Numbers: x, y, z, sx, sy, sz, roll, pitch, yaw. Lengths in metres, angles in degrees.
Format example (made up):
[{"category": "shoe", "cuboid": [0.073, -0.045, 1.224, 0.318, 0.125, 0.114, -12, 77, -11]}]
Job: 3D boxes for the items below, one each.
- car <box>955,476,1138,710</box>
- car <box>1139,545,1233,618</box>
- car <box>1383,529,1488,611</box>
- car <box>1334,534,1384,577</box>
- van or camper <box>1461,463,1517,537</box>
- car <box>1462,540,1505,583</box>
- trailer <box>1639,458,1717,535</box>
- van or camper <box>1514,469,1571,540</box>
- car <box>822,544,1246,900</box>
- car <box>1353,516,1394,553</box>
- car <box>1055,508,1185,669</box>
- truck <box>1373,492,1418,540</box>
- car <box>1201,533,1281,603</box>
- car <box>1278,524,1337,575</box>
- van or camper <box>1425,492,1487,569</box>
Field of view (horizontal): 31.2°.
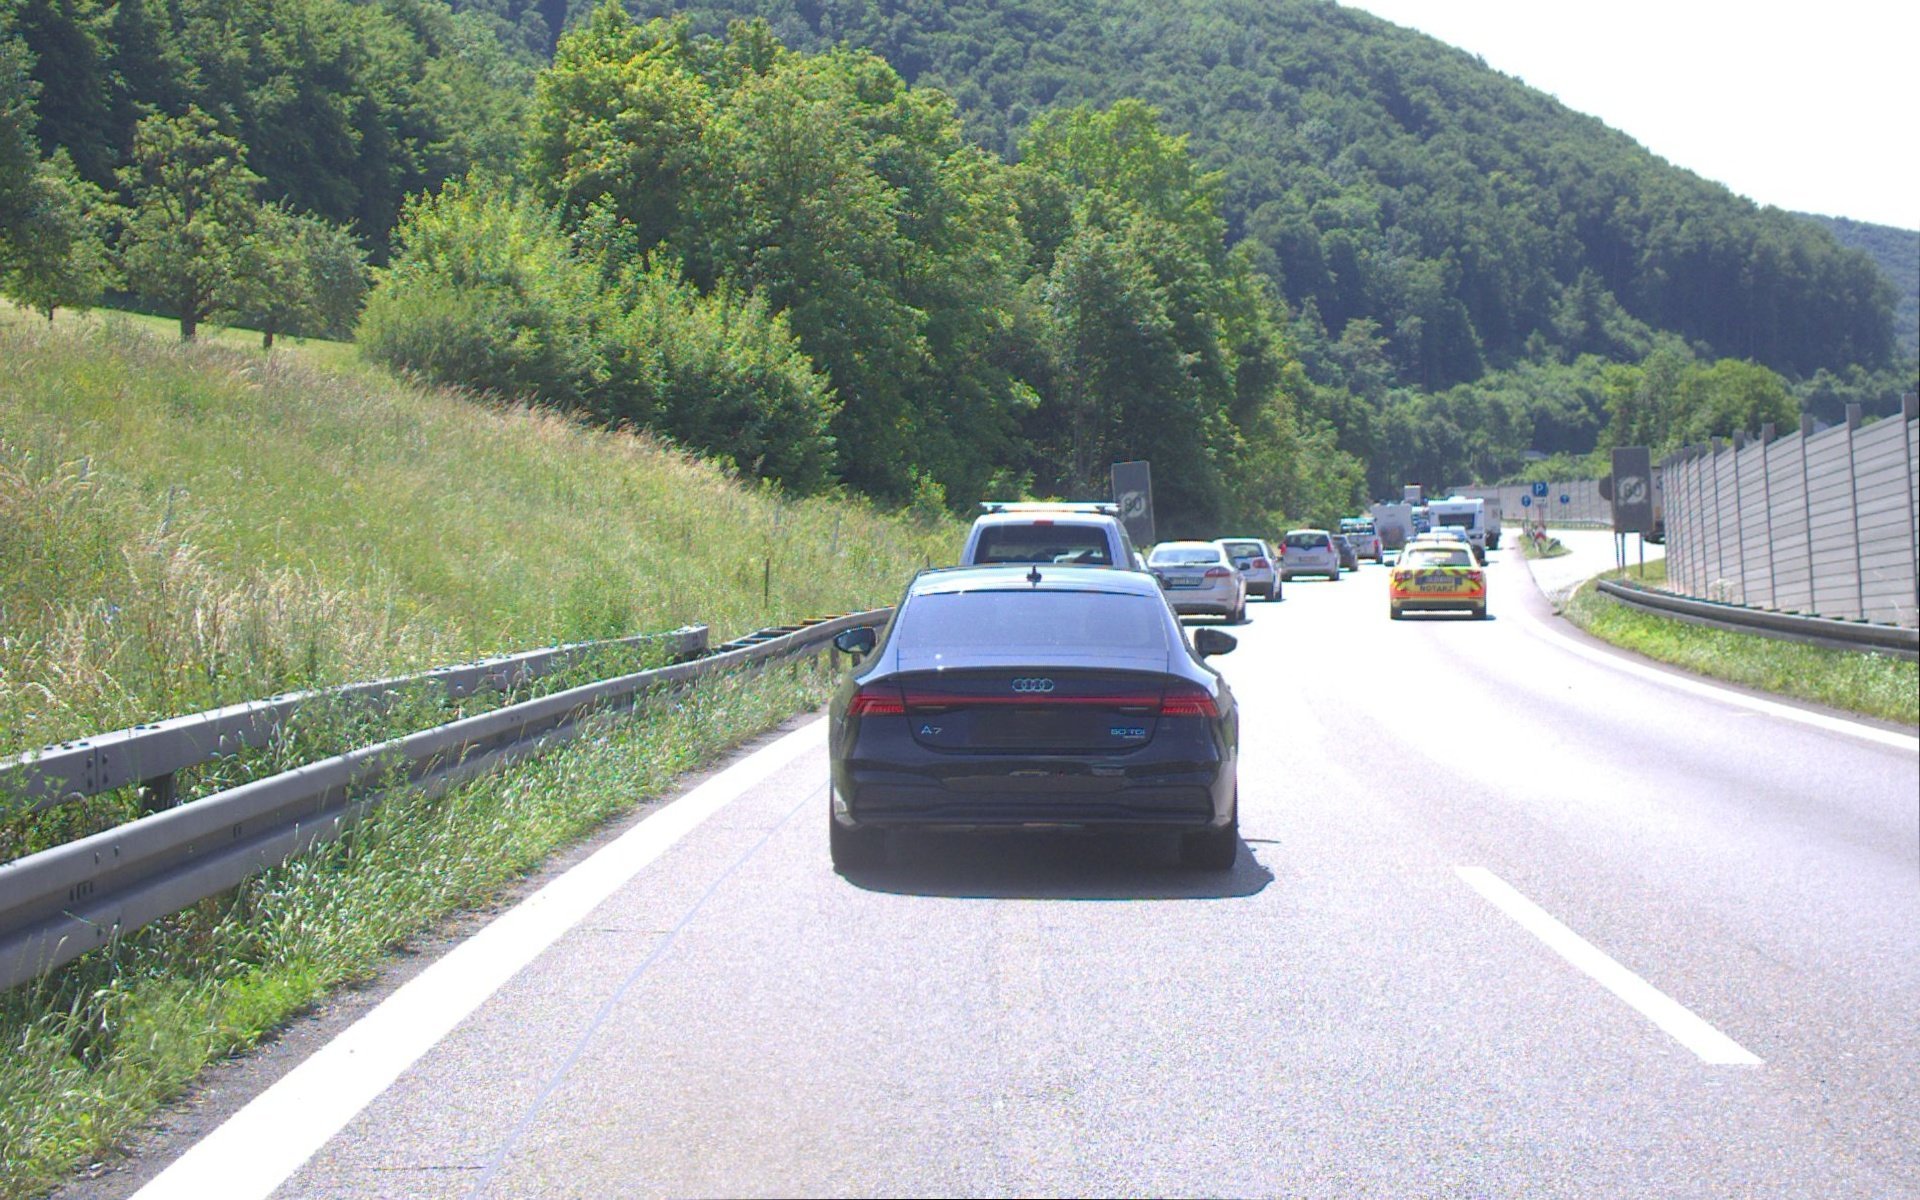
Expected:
[{"category": "car", "cuboid": [0.817, -0.095, 31.188, 1.521, 1.961, 3.514, 2, 1, 3]}, {"category": "car", "cuboid": [4.144, -0.357, 62.638, 1.521, 1.290, 3.513, 0, 1, 7]}, {"category": "car", "cuboid": [9.106, -0.601, 65.612, 1.879, 1.493, 3.999, 0, 1, 9]}, {"category": "car", "cuboid": [14.961, -1.681, 128.681, 1.522, 1.547, 3.512, 2, 1, 12]}, {"category": "van or camper", "cuboid": [28.871, -5.417, 187.734, 2.795, 3.893, 6.165, 1, 1, 7]}, {"category": "car", "cuboid": [19.386, -1.414, 127.227, 1.488, 1.565, 2.999, 1, 1, 10]}, {"category": "trailer", "cuboid": [37.775, -5.428, 181.145, 3.413, 3.887, 11.148, 0, 1, 9]}, {"category": "van or camper", "cuboid": [32.349, -5.275, 190.968, 2.795, 3.828, 6.165, 1, 1, 7]}, {"category": "car", "cuboid": [0.368, 0.499, 16.609, 1.812, 1.509, 3.514, -1, 1, 2]}, {"category": "car", "cuboid": [18.063, -2.852, 150.161, 1.522, 1.547, 3.513, 2, 1, 11]}, {"category": "car", "cuboid": [2.017, -0.161, 43.318, 1.539, 1.918, 3.478, 1, 1, 3]}, {"category": "truck", "cuboid": [24.250, -4.664, 191.311, 2.065, 2.596, 5.611, 2, 1, 11]}, {"category": "car", "cuboid": [6.593, -0.758, 80.483, 1.522, 1.547, 3.513, 2, 1, 10]}, {"category": "car", "cuboid": [11.065, -1.598, 109.284, 1.522, 1.547, 3.513, 2, 1, 11]}, {"category": "van or camper", "cuboid": [20.775, -2.868, 143.851, 2.430, 3.144, 5.201, 1, 1, 9]}]
